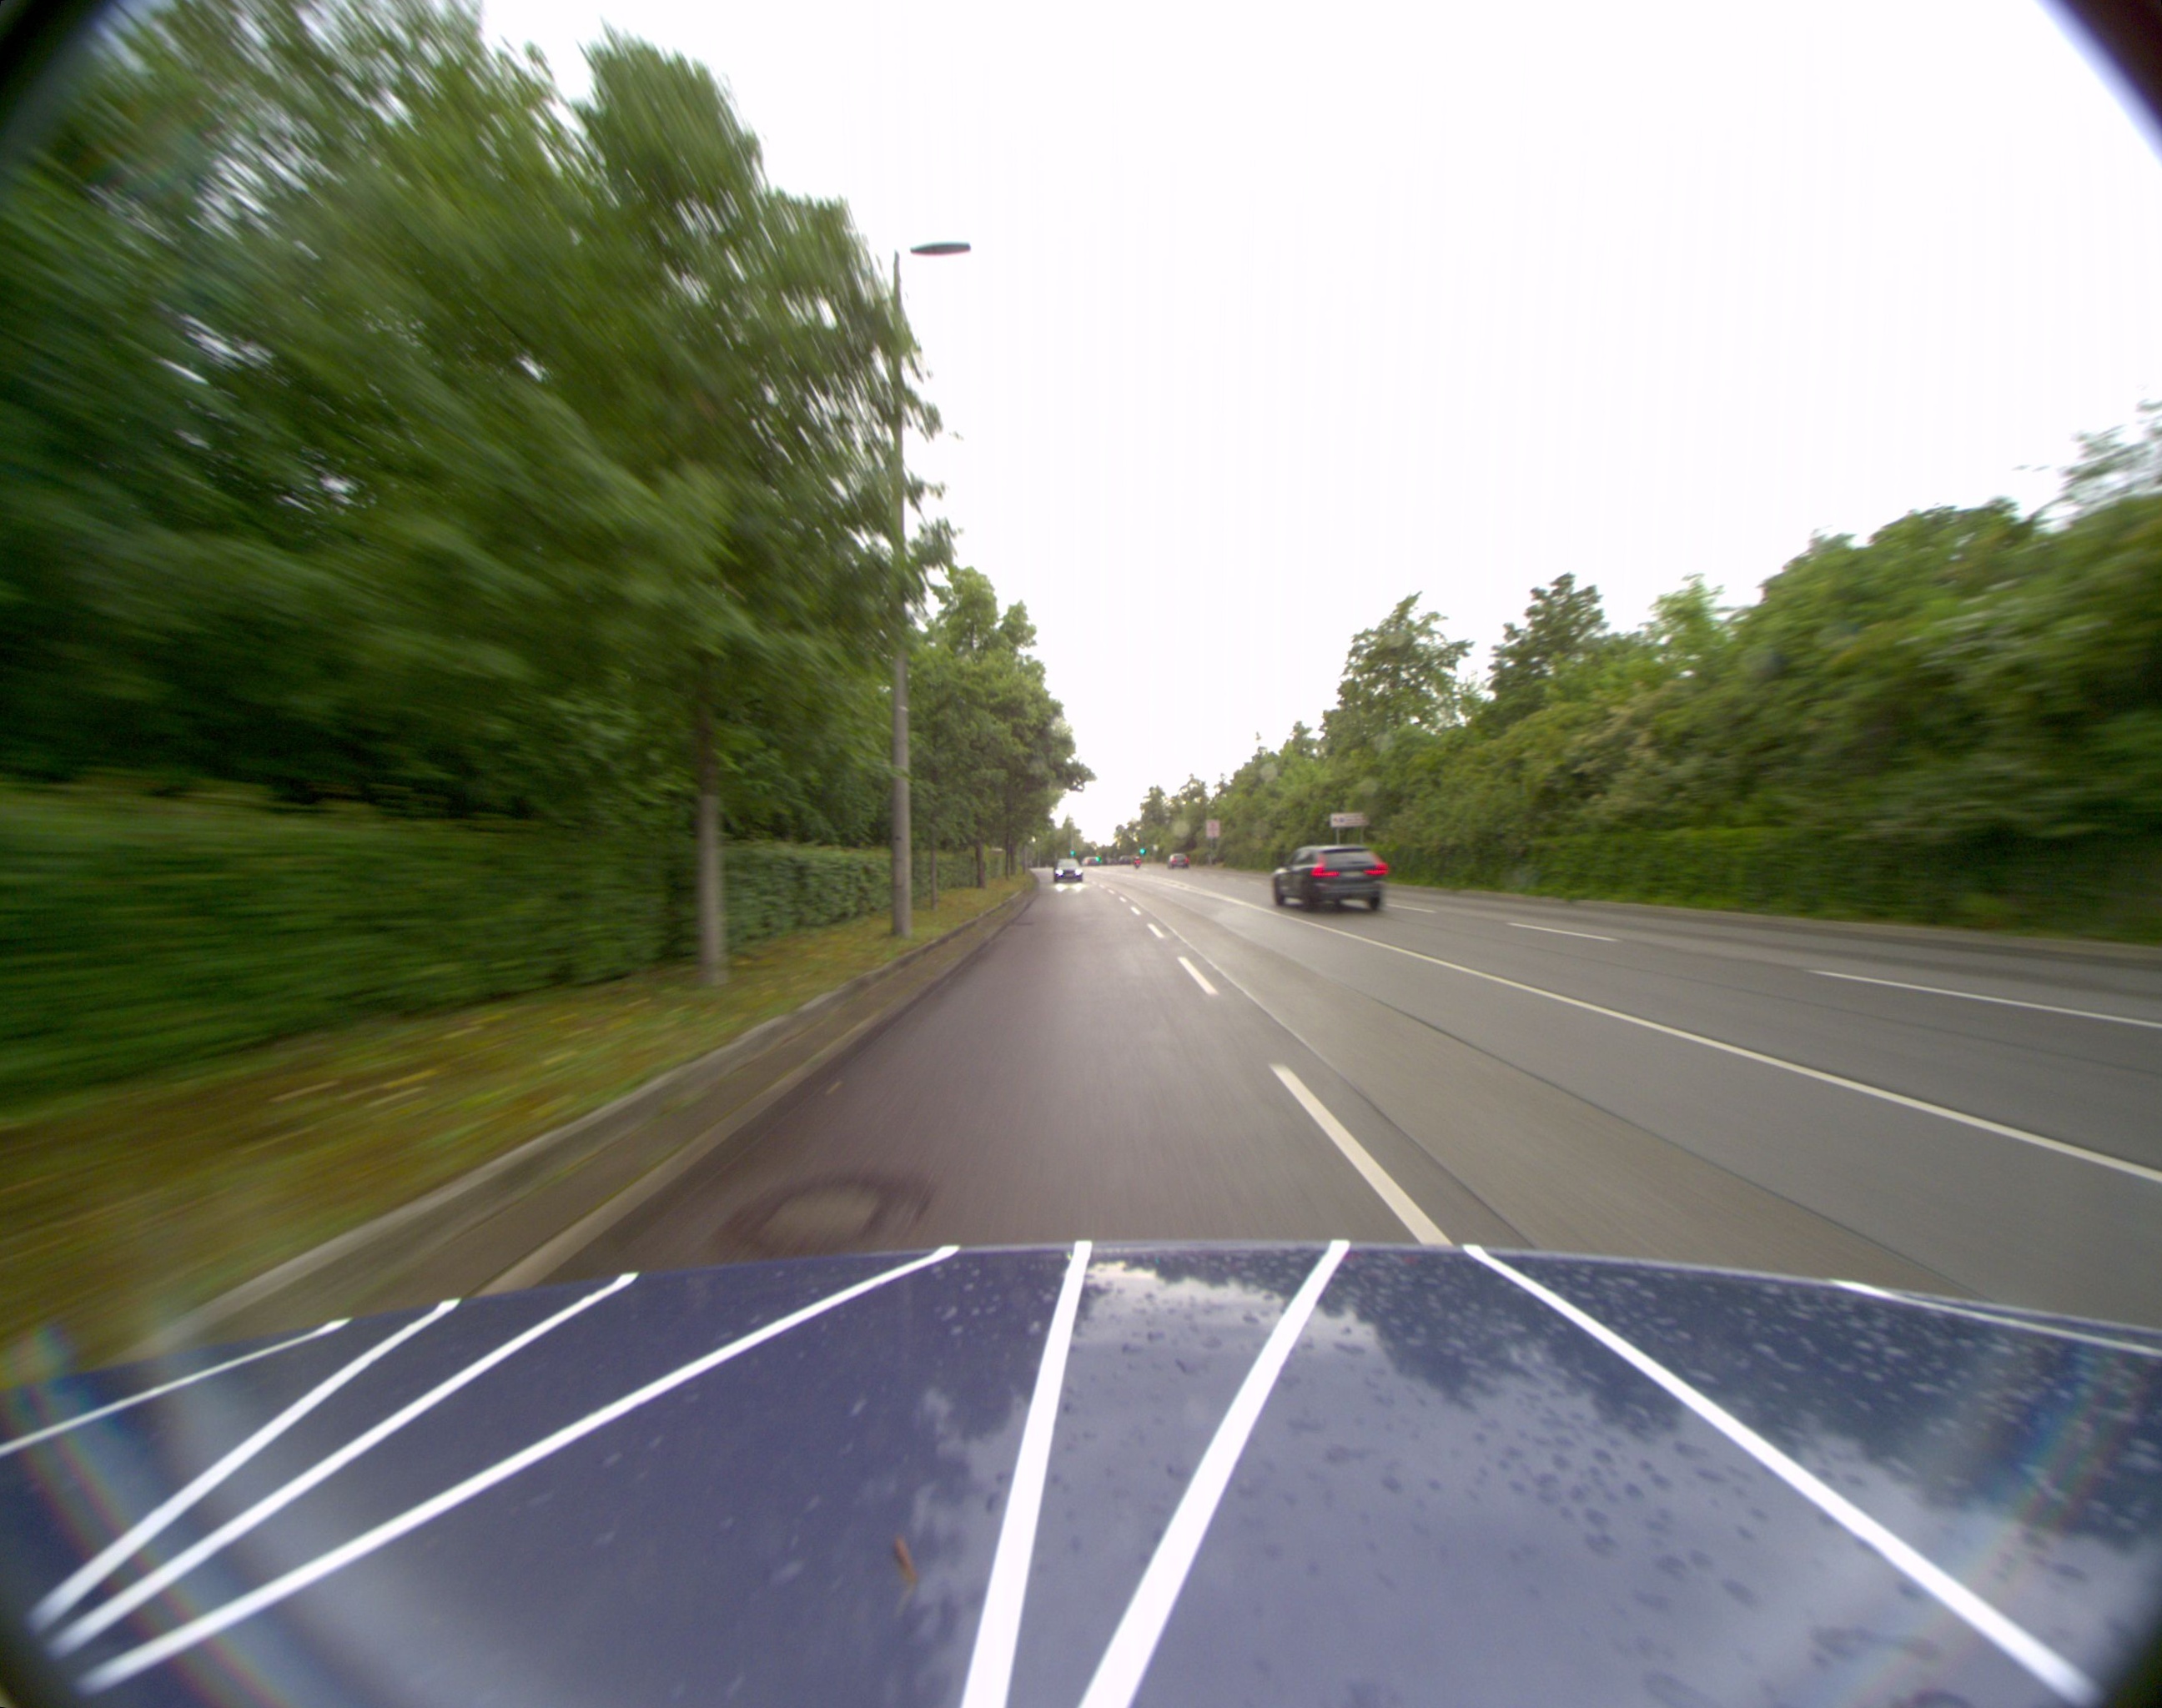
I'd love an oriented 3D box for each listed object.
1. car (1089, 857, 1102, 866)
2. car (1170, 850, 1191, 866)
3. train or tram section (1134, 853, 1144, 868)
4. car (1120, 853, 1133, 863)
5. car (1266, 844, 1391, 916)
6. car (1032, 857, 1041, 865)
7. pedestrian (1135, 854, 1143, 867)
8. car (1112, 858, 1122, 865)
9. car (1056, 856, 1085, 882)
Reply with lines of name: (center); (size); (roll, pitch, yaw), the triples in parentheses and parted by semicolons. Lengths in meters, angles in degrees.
car: (2.354, 1.209, 123.491); (1.782, 1.459, 3.996); (-2, 0, -2)
car: (9.720, 0.368, 74.698); (1.552, 1.429, 3.695); (-2, 1, 0)
train or tram section: (6.378, 0.674, 83.337); (0.793, 1.561, 2.383); (-3, 0, 0)
car: (8.099, 0.728, 135.184); (1.805, 1.597, 4.427); (-3, 0, -1)
car: (6.405, 0.612, 20.219); (1.817, 1.648, 4.595); (-2, 0, 1)
car: (-9.787, 1.572, 166.675); (1.738, 1.577, 4.285); (-2, 0, -2)
pedestrian: (6.378, 0.674, 83.333); (0.793, 1.375, 0.974); (-3, 1, 0)
car: (7.359, 1.491, 153.958); (1.679, 1.459, 3.861); (-3, 0, -2)
car: (-0.715, 0.967, 49.840); (1.738, 1.577, 4.285); (-2, 0, -2)
